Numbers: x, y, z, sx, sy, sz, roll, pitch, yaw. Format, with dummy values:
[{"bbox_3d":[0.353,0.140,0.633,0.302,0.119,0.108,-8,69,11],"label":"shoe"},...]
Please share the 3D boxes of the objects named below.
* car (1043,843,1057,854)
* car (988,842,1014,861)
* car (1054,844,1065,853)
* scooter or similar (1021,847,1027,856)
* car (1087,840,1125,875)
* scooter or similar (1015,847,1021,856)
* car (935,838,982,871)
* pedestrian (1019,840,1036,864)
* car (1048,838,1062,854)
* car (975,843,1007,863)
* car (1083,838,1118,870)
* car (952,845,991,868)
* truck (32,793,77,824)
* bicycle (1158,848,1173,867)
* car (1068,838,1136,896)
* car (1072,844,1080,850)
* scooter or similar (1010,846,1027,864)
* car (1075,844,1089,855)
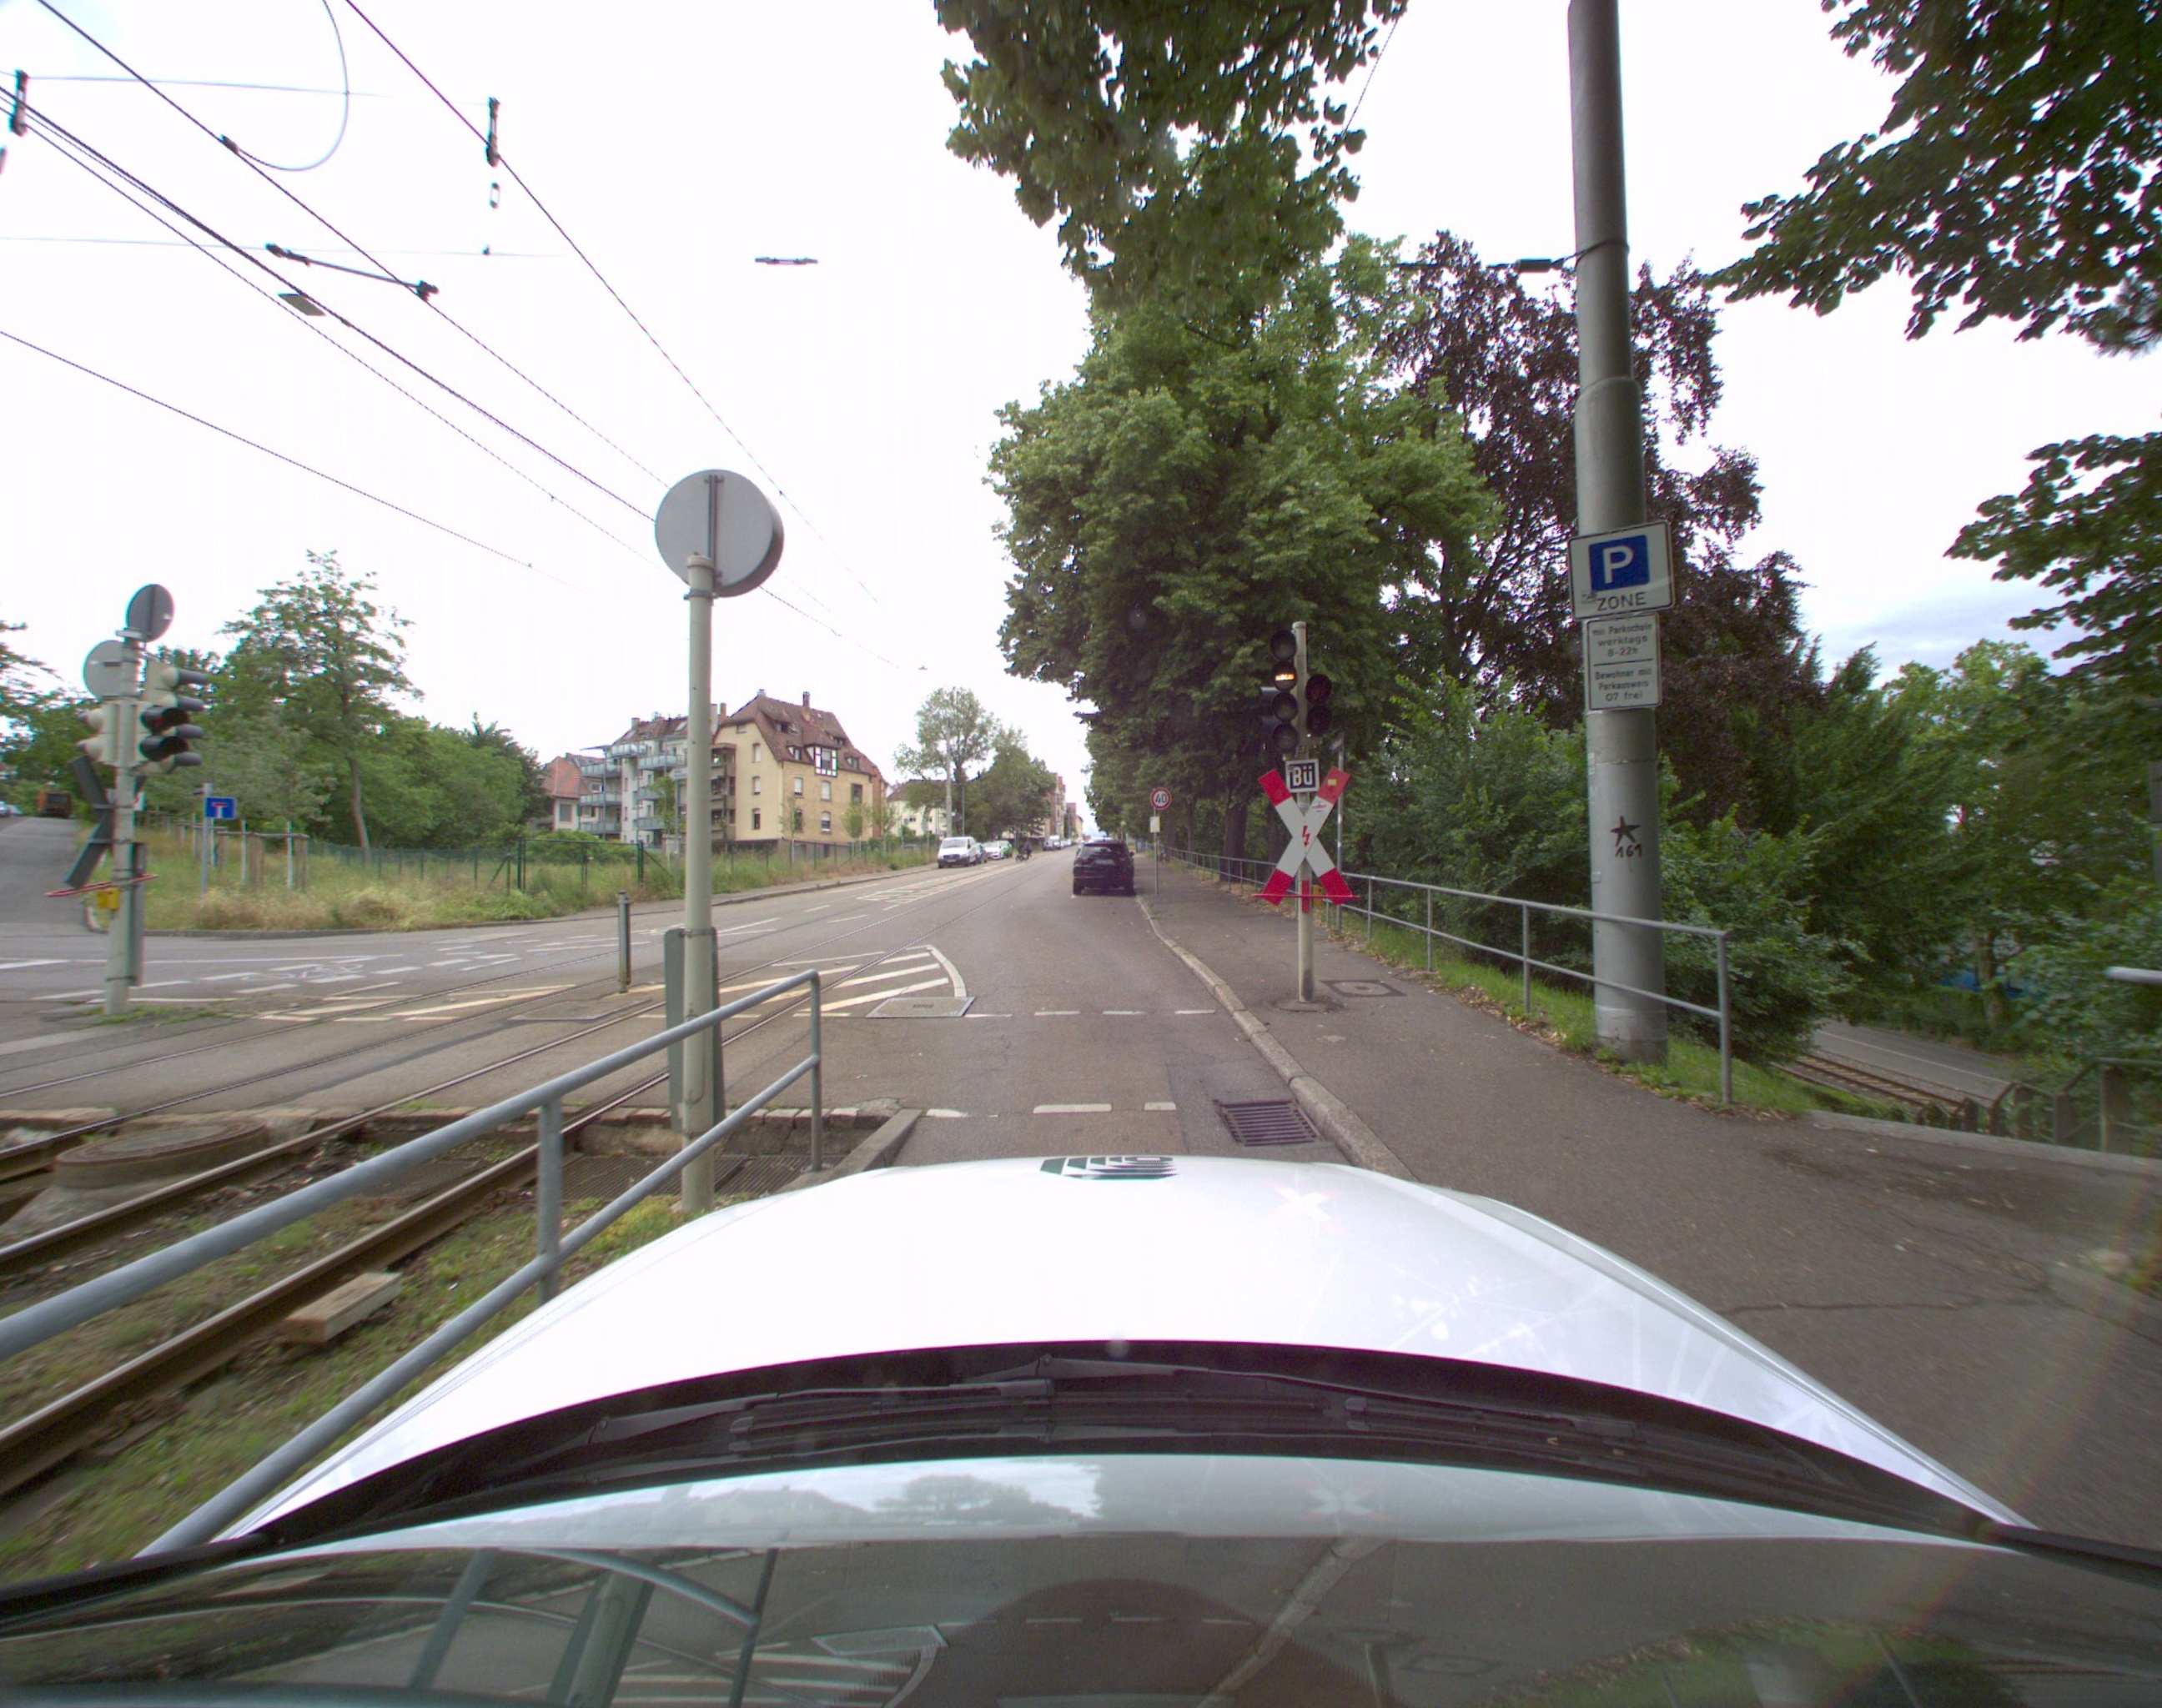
[{"bbox_3d":[-5.014,-0.901,131.559,1.985,1.808,4.003,0,0,3],"label":"car"},{"bbox_3d":[-6.927,-0.227,70.807,1.716,1.579,4.183,-2,1,2],"label":"car"},{"bbox_3d":[-4.089,-1.020,156.363,1.987,1.600,4.311,0,0,0],"label":"car"},{"bbox_3d":[-8.914,-0.412,126.709,0.688,1.339,1.640,0,0,3],"label":"scooter or similar"},{"bbox_3d":[1.219,0.135,40.885,1.720,1.631,4.088,3,1,0],"label":"car"},{"bbox_3d":[-9.781,-0.409,126.641,0.688,1.339,1.640,0,0,3],"label":"scooter or similar"},{"bbox_3d":[-7.656,0.025,51.246,2.029,1.881,4.885,-3,0,1],"label":"car"},{"bbox_3d":[-3.737,-0.130,56.975,0.904,1.628,0.812,-1,0,39],"label":"pedestrian"},{"bbox_3d":[-4.602,-1.376,146.052,2.223,2.764,5.798,0,0,0],"label":"car"},{"bbox_3d":[-7.174,-0.085,65.304,1.878,1.526,4.665,-2,0,2],"label":"car"},{"bbox_3d":[1.176,-0.023,46.915,1.870,1.677,5.066,1,1,2],"label":"car"},{"bbox_3d":[-7.556,0.135,56.675,1.889,1.432,4.513,-2,1,2],"label":"car"},{"bbox_3d":[-133.809,-5.832,106.168,8.094,3.600,3.583,0,0,38],"label":"truck"},{"bbox_3d":[4.559,0.179,44.037,0.427,0.976,1.790,0,0,-8],"label":"bicycle"},{"bbox_3d":[0.728,0.346,25.145,1.896,1.615,4.604,0,1,3],"label":"car"},{"bbox_3d":[-1.359,-2.084,229.399,1.986,1.601,4.001,0,0,1],"label":"car"},{"bbox_3d":[-4.394,0.068,57.490,0.828,1.196,0.812,-1,0,39],"label":"scooter or similar"},{"bbox_3d":[0.153,-0.671,119.589,1.986,1.498,4.314,0,0,2],"label":"car"}]
